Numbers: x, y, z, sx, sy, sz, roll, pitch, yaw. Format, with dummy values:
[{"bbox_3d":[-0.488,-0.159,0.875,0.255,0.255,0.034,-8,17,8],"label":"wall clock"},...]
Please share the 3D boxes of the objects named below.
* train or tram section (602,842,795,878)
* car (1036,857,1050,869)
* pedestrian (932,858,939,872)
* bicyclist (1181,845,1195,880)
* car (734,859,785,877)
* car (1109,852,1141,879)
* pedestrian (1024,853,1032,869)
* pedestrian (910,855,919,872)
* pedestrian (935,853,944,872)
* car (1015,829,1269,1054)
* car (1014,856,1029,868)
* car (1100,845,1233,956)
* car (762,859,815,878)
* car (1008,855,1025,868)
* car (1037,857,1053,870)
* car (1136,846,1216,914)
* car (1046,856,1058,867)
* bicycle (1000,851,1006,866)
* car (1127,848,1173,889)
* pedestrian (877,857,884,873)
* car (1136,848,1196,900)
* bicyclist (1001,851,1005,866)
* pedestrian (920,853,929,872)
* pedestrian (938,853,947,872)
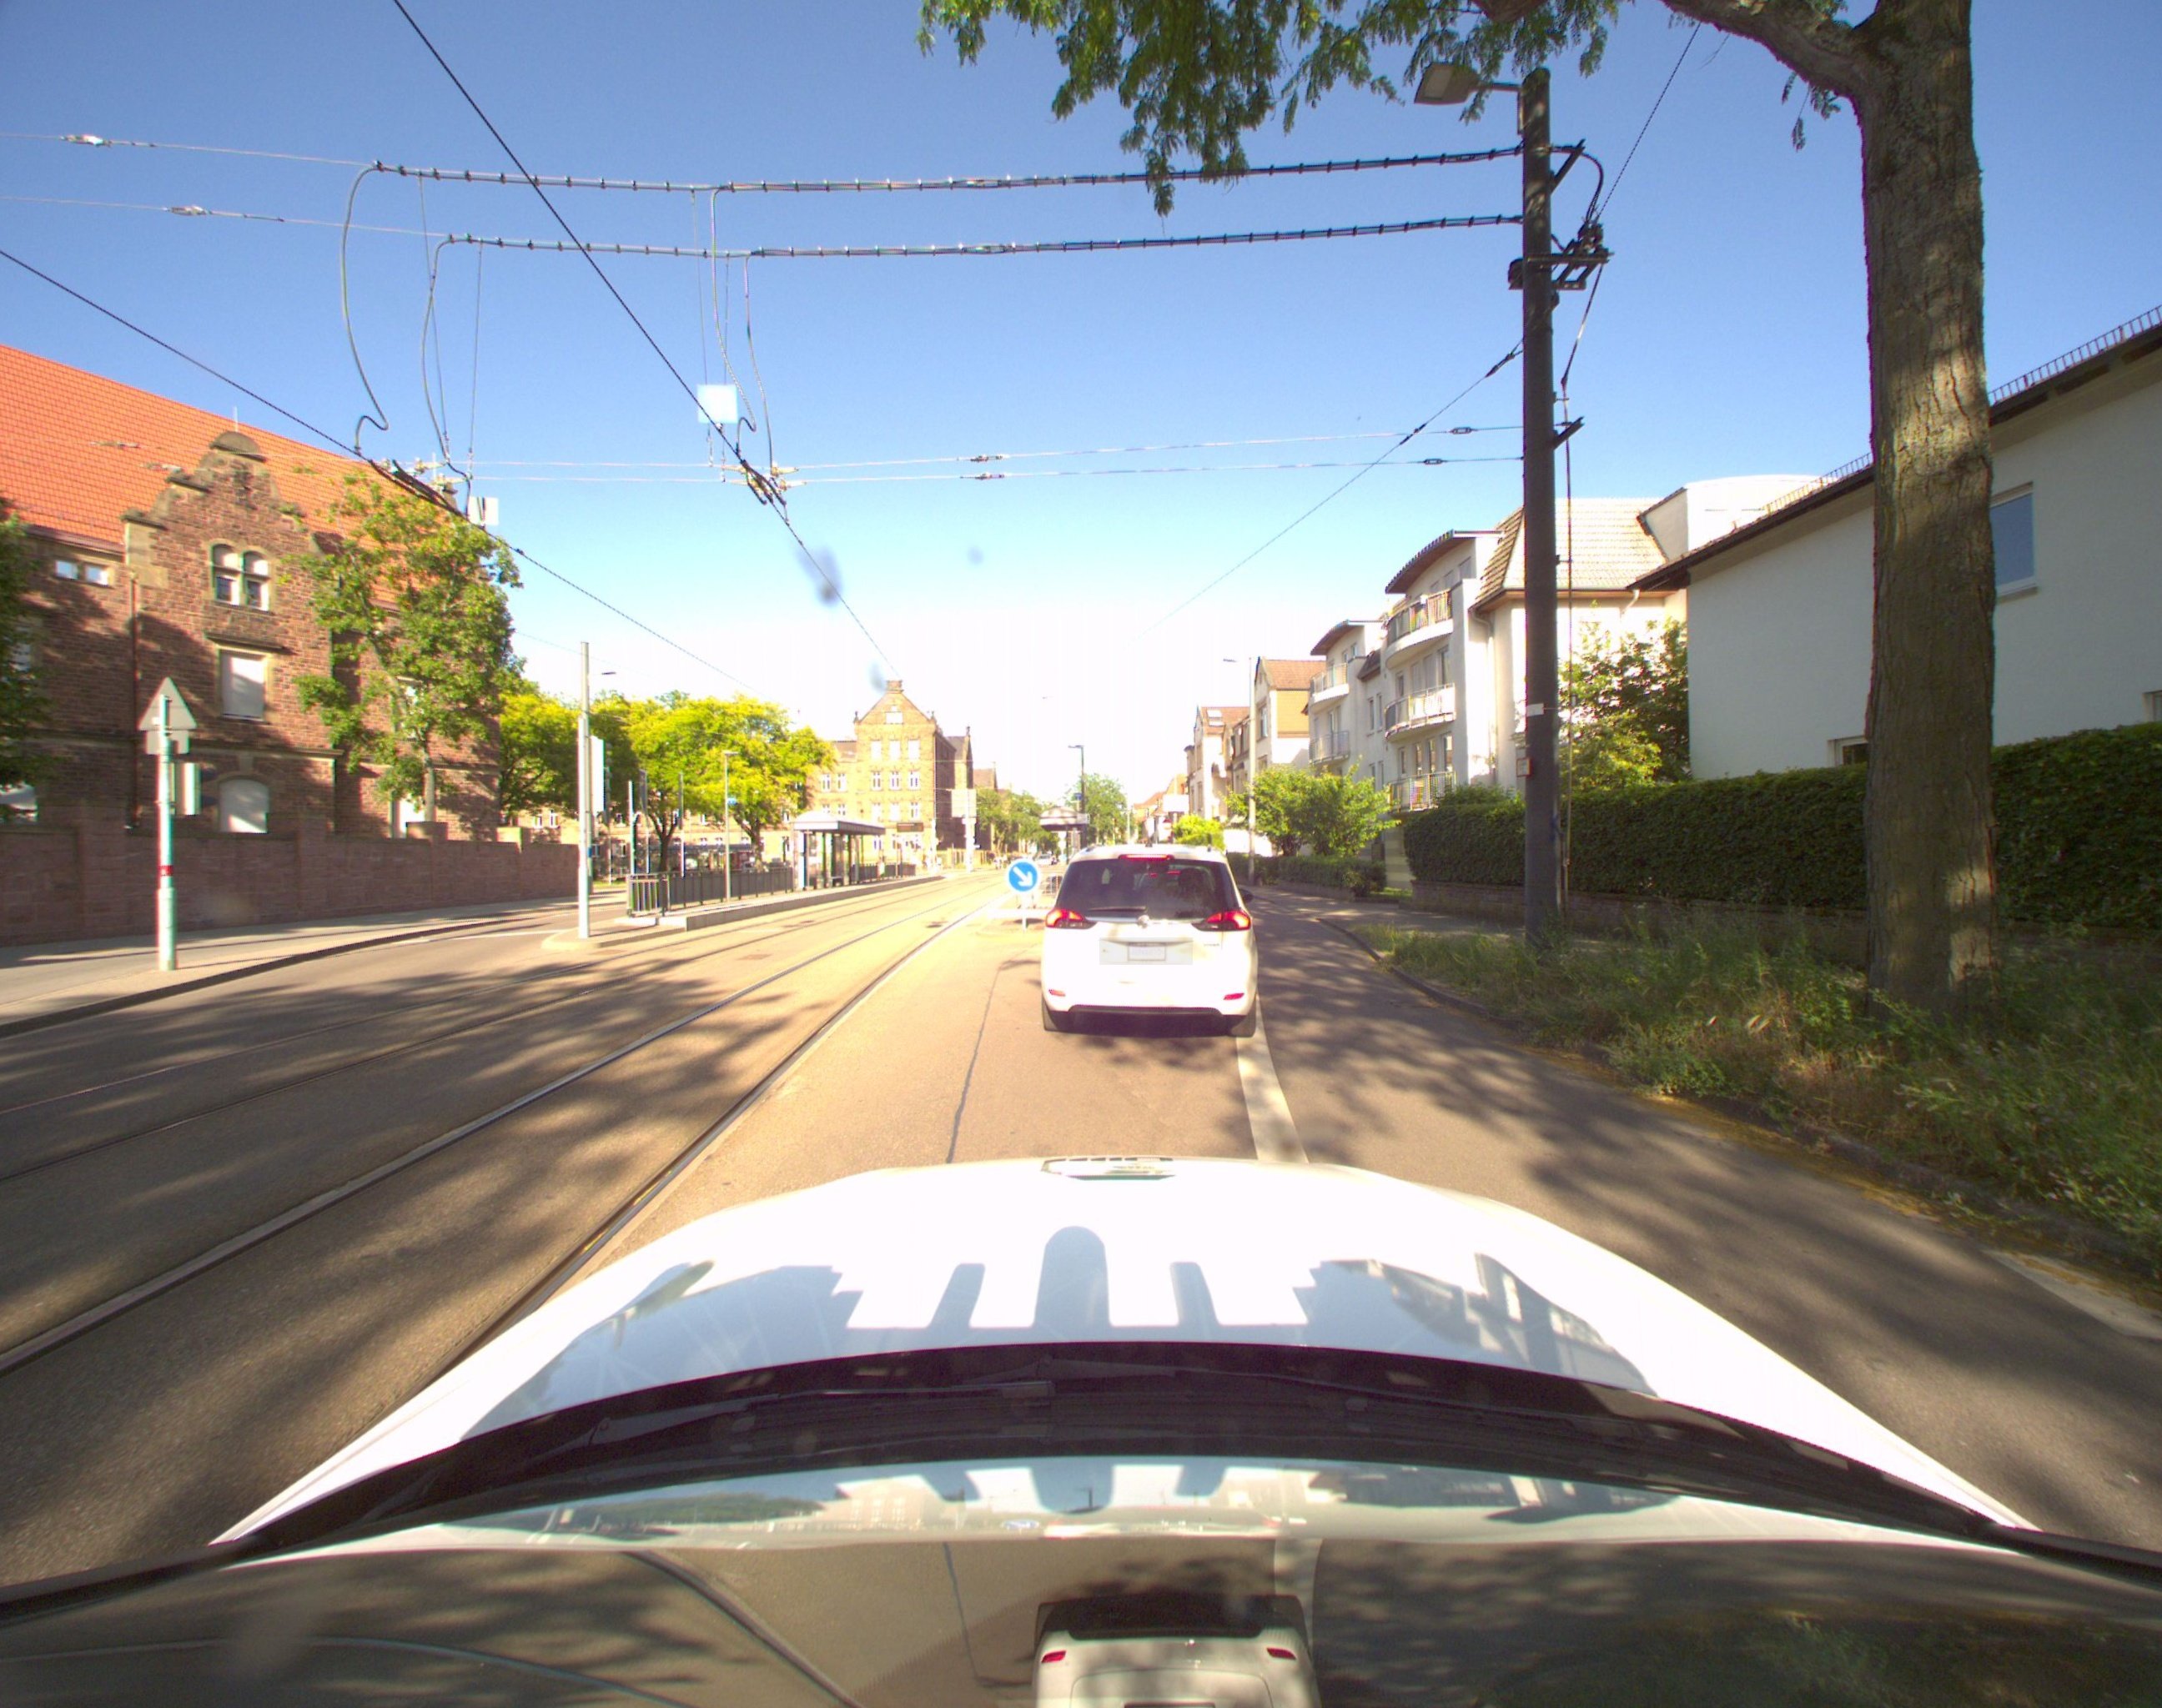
[{"bbox_3d":[-37.842,0.571,81.147,17.346,3.154,3.344,-1,-1,-3],"label":"train or tram section"},{"bbox_3d":[-5.368,1.281,115.551,1.740,1.716,4.001,0,-1,2],"label":"car"},{"bbox_3d":[-17.148,1.251,95.911,0.651,1.612,0.712,0,-1,4],"label":"pedestrian"},{"bbox_3d":[5.213,0.430,39.761,0.613,1.686,0.780,-1,0,6],"label":"bicyclist"},{"bbox_3d":[-29.652,1.310,75.215,3.976,1.630,1.817,0,-1,-2],"label":"car"},{"bbox_3d":[2.843,0.747,53.182,1.901,1.661,4.000,-1,0,0],"label":"car"},{"bbox_3d":[-6.307,0.800,97.670,0.744,1.901,0.804,0,-1,-23],"label":"pedestrian"},{"bbox_3d":[-18.318,1.029,89.620,0.802,1.901,0.747,-1,-1,16],"label":"pedestrian"},{"bbox_3d":[-15.552,0.930,89.536,0.801,2.014,0.713,0,-1,-35],"label":"pedestrian"},{"bbox_3d":[0.759,0.661,8.138,1.896,1.661,4.010,-1,0,9],"label":"car"},{"bbox_3d":[-8.328,1.110,114.120,1.740,1.716,4.001,0,-1,2],"label":"car"},{"bbox_3d":[1.559,0.685,13.868,1.896,1.597,4.010,-1,0,9],"label":"car"},{"bbox_3d":[-25.444,1.234,70.972,3.976,1.630,1.817,0,-1,-2],"label":"car"},{"bbox_3d":[-8.497,1.024,107.452,1.740,1.716,4.001,0,-1,2],"label":"car"},{"bbox_3d":[-4.706,1.250,107.672,1.740,1.716,4.001,0,-1,2],"label":"car"},{"bbox_3d":[2.620,0.634,21.689,1.896,1.624,4.010,-1,0,9],"label":"car"},{"bbox_3d":[-4.600,1.175,129.397,1.740,1.716,4.001,0,-1,2],"label":"car"},{"bbox_3d":[-10.506,0.646,109.712,0.485,2.013,1.406,-1,0,2],"label":"bicycle"},{"bbox_3d":[2.997,0.613,36.189,1.899,1.661,4.003,-1,0,3],"label":"car"},{"bbox_3d":[-22.053,1.198,89.485,0.768,1.774,0.717,0,-1,-15],"label":"pedestrian"},{"bbox_3d":[2.976,0.649,28.346,1.897,1.661,4.007,-1,0,6],"label":"car"},{"bbox_3d":[-10.510,0.643,109.663,0.496,2.013,0.572,-1,0,1],"label":"bicyclist"},{"bbox_3d":[-17.060,0.936,88.949,0.800,2.014,0.713,0,-1,-32],"label":"pedestrian"},{"bbox_3d":[-14.550,0.863,85.516,0.796,2.014,0.717,0,-1,-15],"label":"pedestrian"}]
